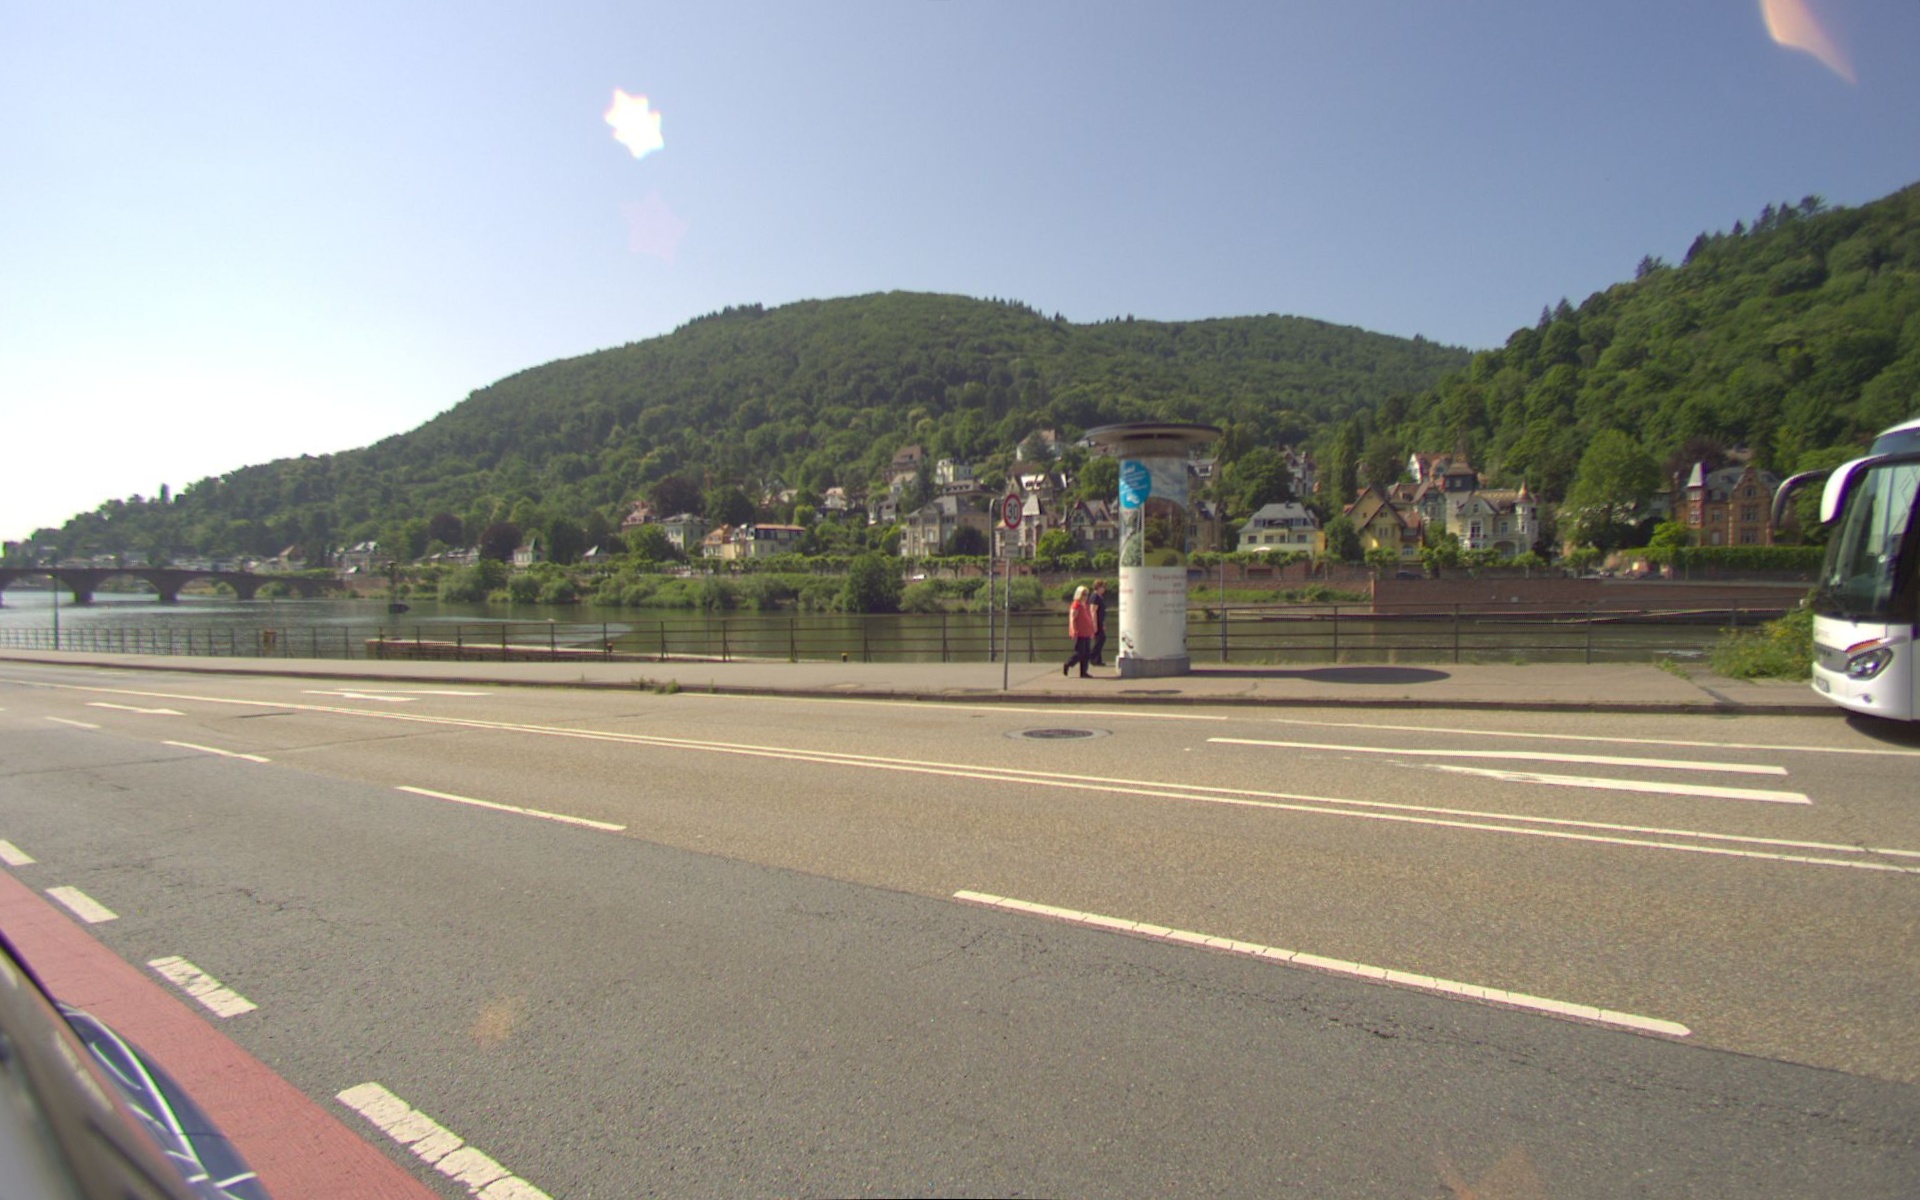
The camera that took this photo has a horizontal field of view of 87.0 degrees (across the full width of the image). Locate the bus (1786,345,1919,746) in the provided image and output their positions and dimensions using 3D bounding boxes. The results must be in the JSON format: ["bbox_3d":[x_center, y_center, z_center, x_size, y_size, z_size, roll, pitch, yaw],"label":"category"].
[{"bbox_3d":[15.133,-0.742,7.797,13.194,3.828,2.936,-2,3,31],"label":"bus"}]

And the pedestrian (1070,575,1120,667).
[{"bbox_3d":[2.603,0.388,19.435,0.769,1.722,0.679,-1,0,24],"label":"pedestrian"}]

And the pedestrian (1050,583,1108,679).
[{"bbox_3d":[2.088,0.527,17.688,0.812,1.633,0.699,-1,0,25],"label":"pedestrian"}]
